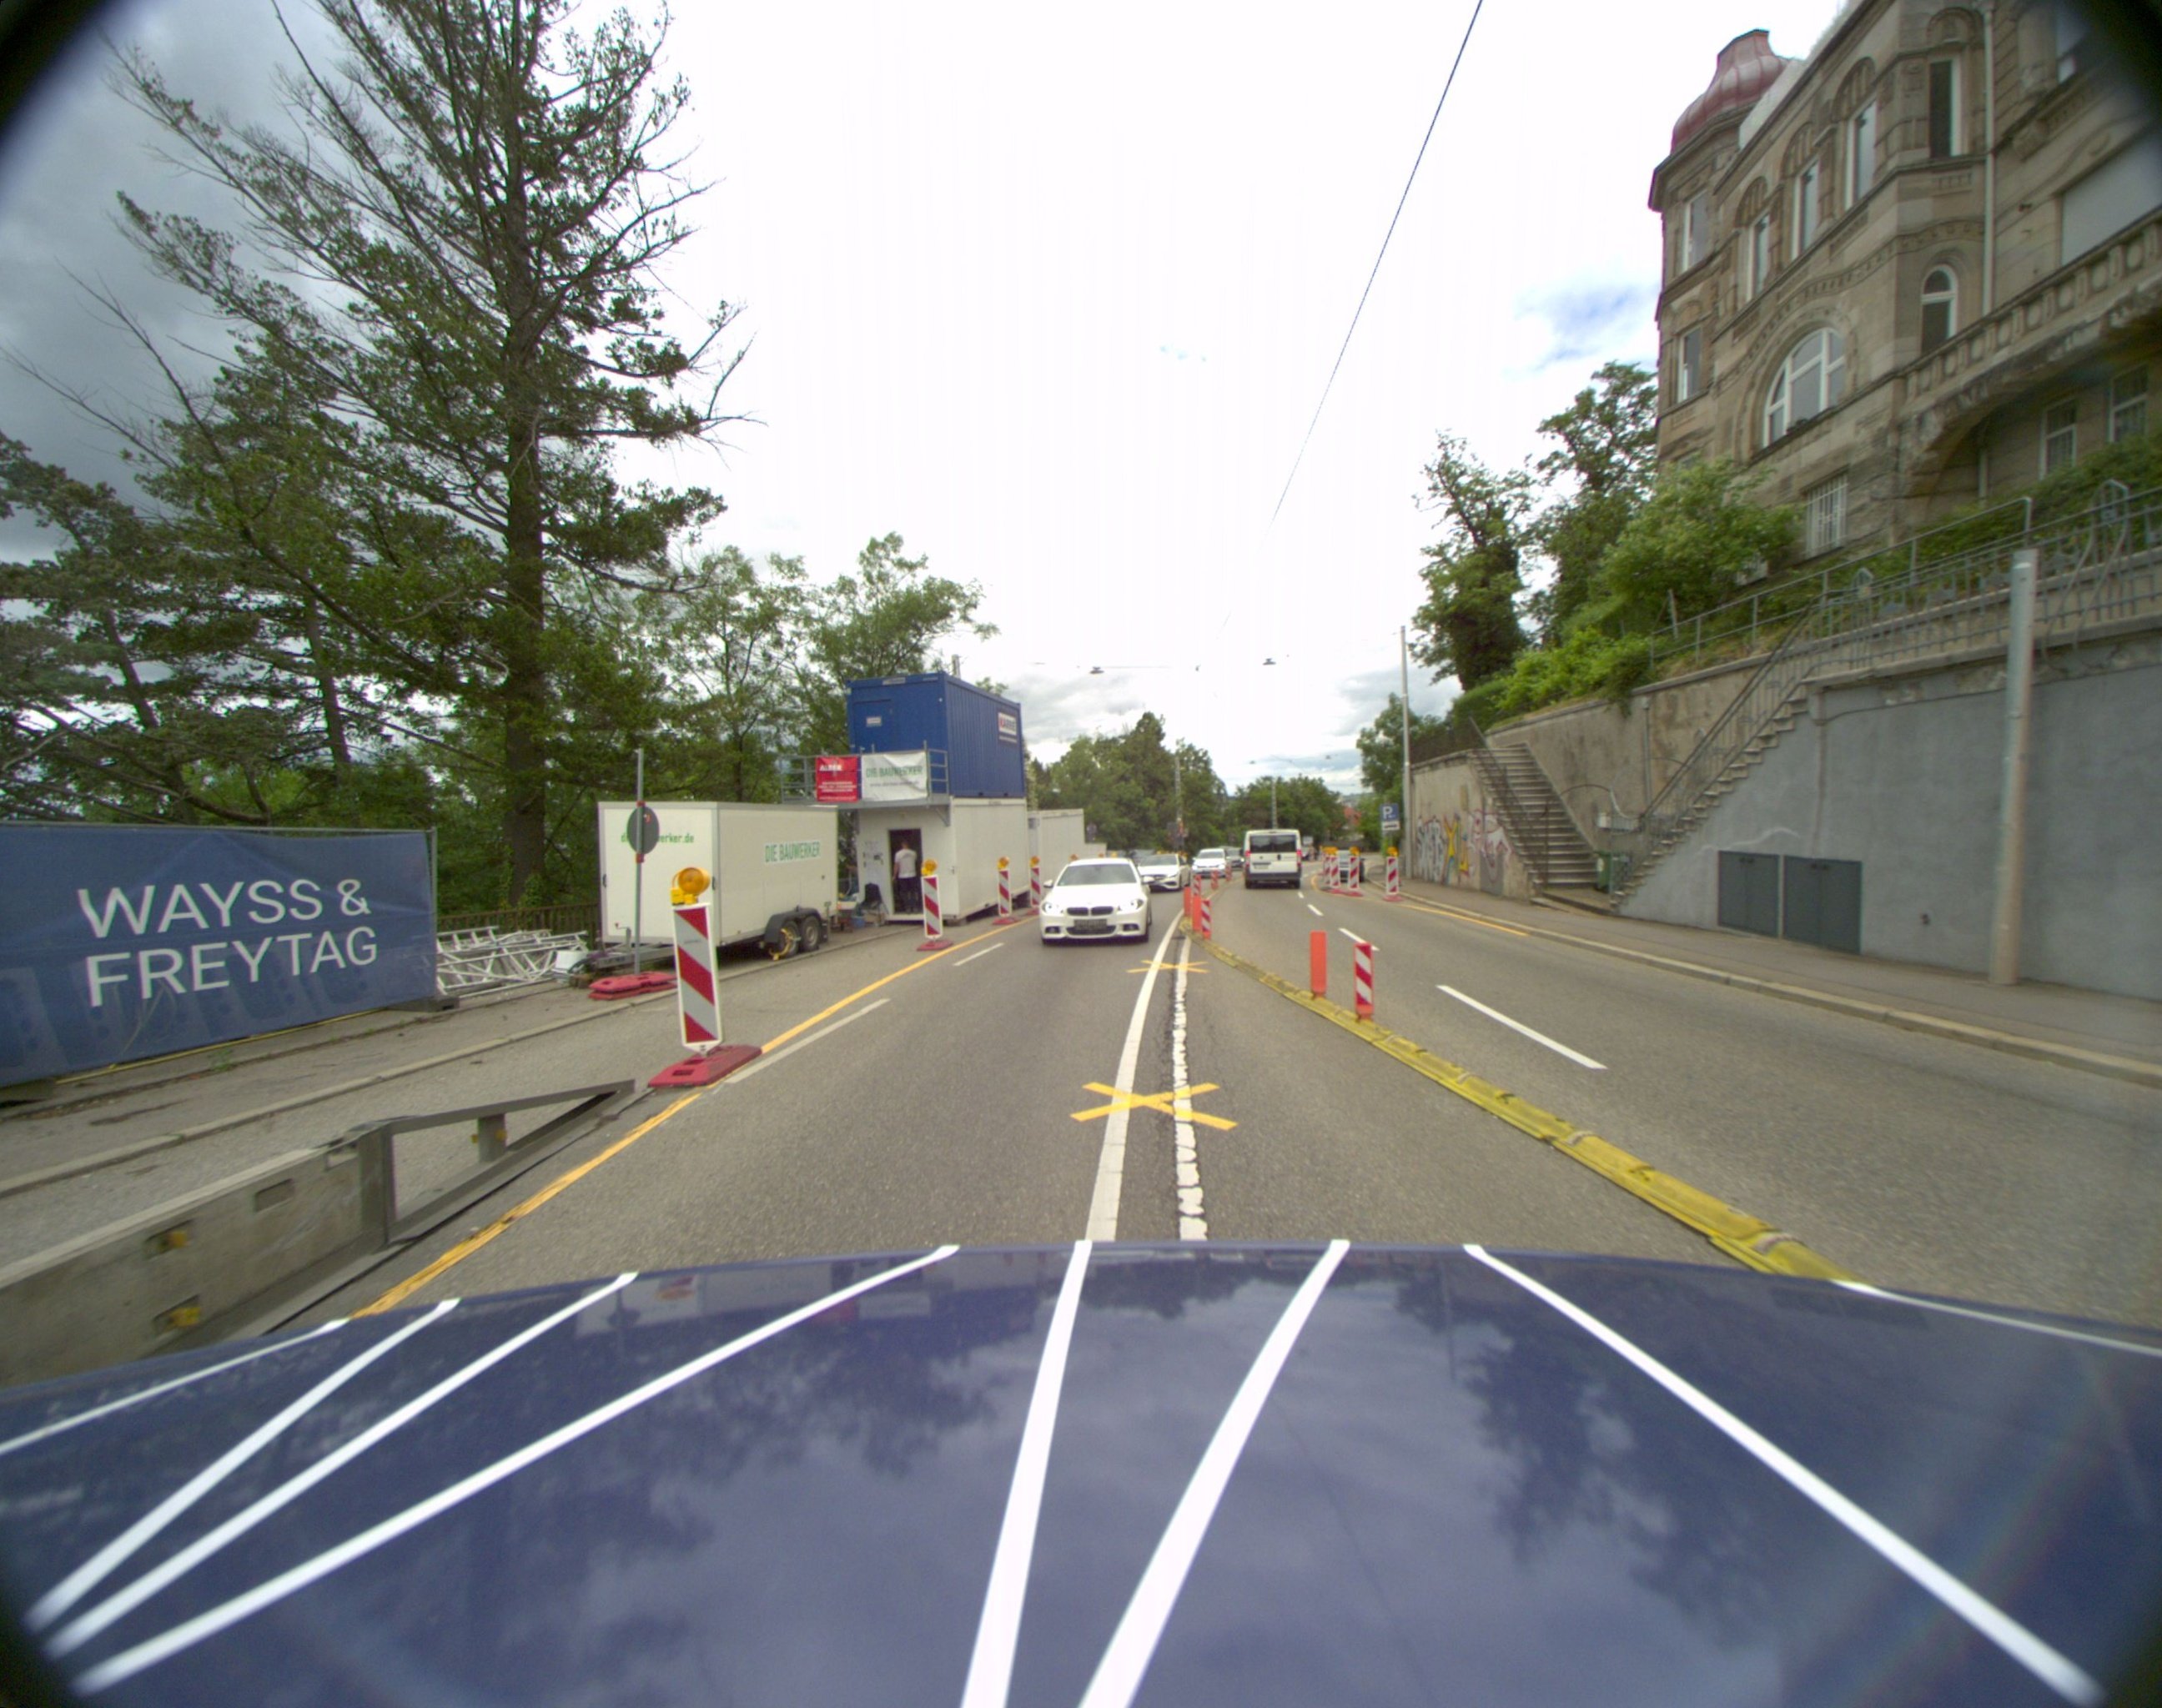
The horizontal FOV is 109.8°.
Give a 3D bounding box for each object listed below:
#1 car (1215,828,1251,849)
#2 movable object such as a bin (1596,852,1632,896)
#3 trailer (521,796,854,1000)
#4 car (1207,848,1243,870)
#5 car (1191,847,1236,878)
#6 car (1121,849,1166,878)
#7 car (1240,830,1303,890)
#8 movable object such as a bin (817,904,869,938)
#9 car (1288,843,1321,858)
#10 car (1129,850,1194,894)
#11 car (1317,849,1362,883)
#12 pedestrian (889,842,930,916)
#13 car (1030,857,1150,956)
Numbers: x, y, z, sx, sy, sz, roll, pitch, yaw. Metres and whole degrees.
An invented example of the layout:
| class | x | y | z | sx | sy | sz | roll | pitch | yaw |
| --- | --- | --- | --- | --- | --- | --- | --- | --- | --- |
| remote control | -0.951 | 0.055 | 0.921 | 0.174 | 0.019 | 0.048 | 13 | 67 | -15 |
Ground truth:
| class | x | y | z | sx | sy | sz | roll | pitch | yaw |
| --- | --- | --- | --- | --- | --- | --- | --- | --- | --- |
| car | 14.003 | -1.436 | 69.886 | 1.854 | 1.665 | 4.286 | 6 | 4 | 29 |
| movable object such as a bin | 11.332 | 0.429 | 16.176 | 0.454 | 0.906 | 0.508 | -2 | 1 | 13 |
| trailer | -5.720 | 0.519 | 12.080 | 2.111 | 2.535 | 5.121 | 0 | 1 | 7 |
| car | 10.554 | 0.314 | 55.375 | 1.796 | 1.502 | 4.006 | 1 | 2 | 22 |
| car | 7.303 | 0.437 | 41.588 | 1.790 | 1.542 | 4.250 | -1 | 0 | 18 |
| car | 4.188 | 0.592 | 50.075 | 1.863 | 1.665 | 4.651 | 4 | 2 | 17 |
| car | 7.429 | 0.187 | 30.120 | 2.070 | 2.175 | 4.966 | 0 | 1 | 10 |
| movable object such as a bin | -5.055 | 1.418 | 16.184 | 0.705 | 0.636 | 0.887 | 0 | 1 | 10 |
| car | 23.915 | -0.422 | 81.350 | 1.788 | 1.472 | 4.253 | -1 | 0 | 40 |
| car | 3.200 | 0.657 | 29.414 | 1.790 | 1.472 | 4.249 | -2 | 1 | 15 |
| car | 11.767 | 0.506 | 34.841 | 1.801 | 1.365 | 4.393 | 1 | 1 | 17 |
| pedestrian | -3.970 | 0.578 | 17.594 | 0.651 | 1.652 | 0.649 | -4 | 1 | -30 |
| car | 0.328 | 0.855 | 14.258 | 1.791 | 1.472 | 4.246 | -2 | 1 | 6 |
